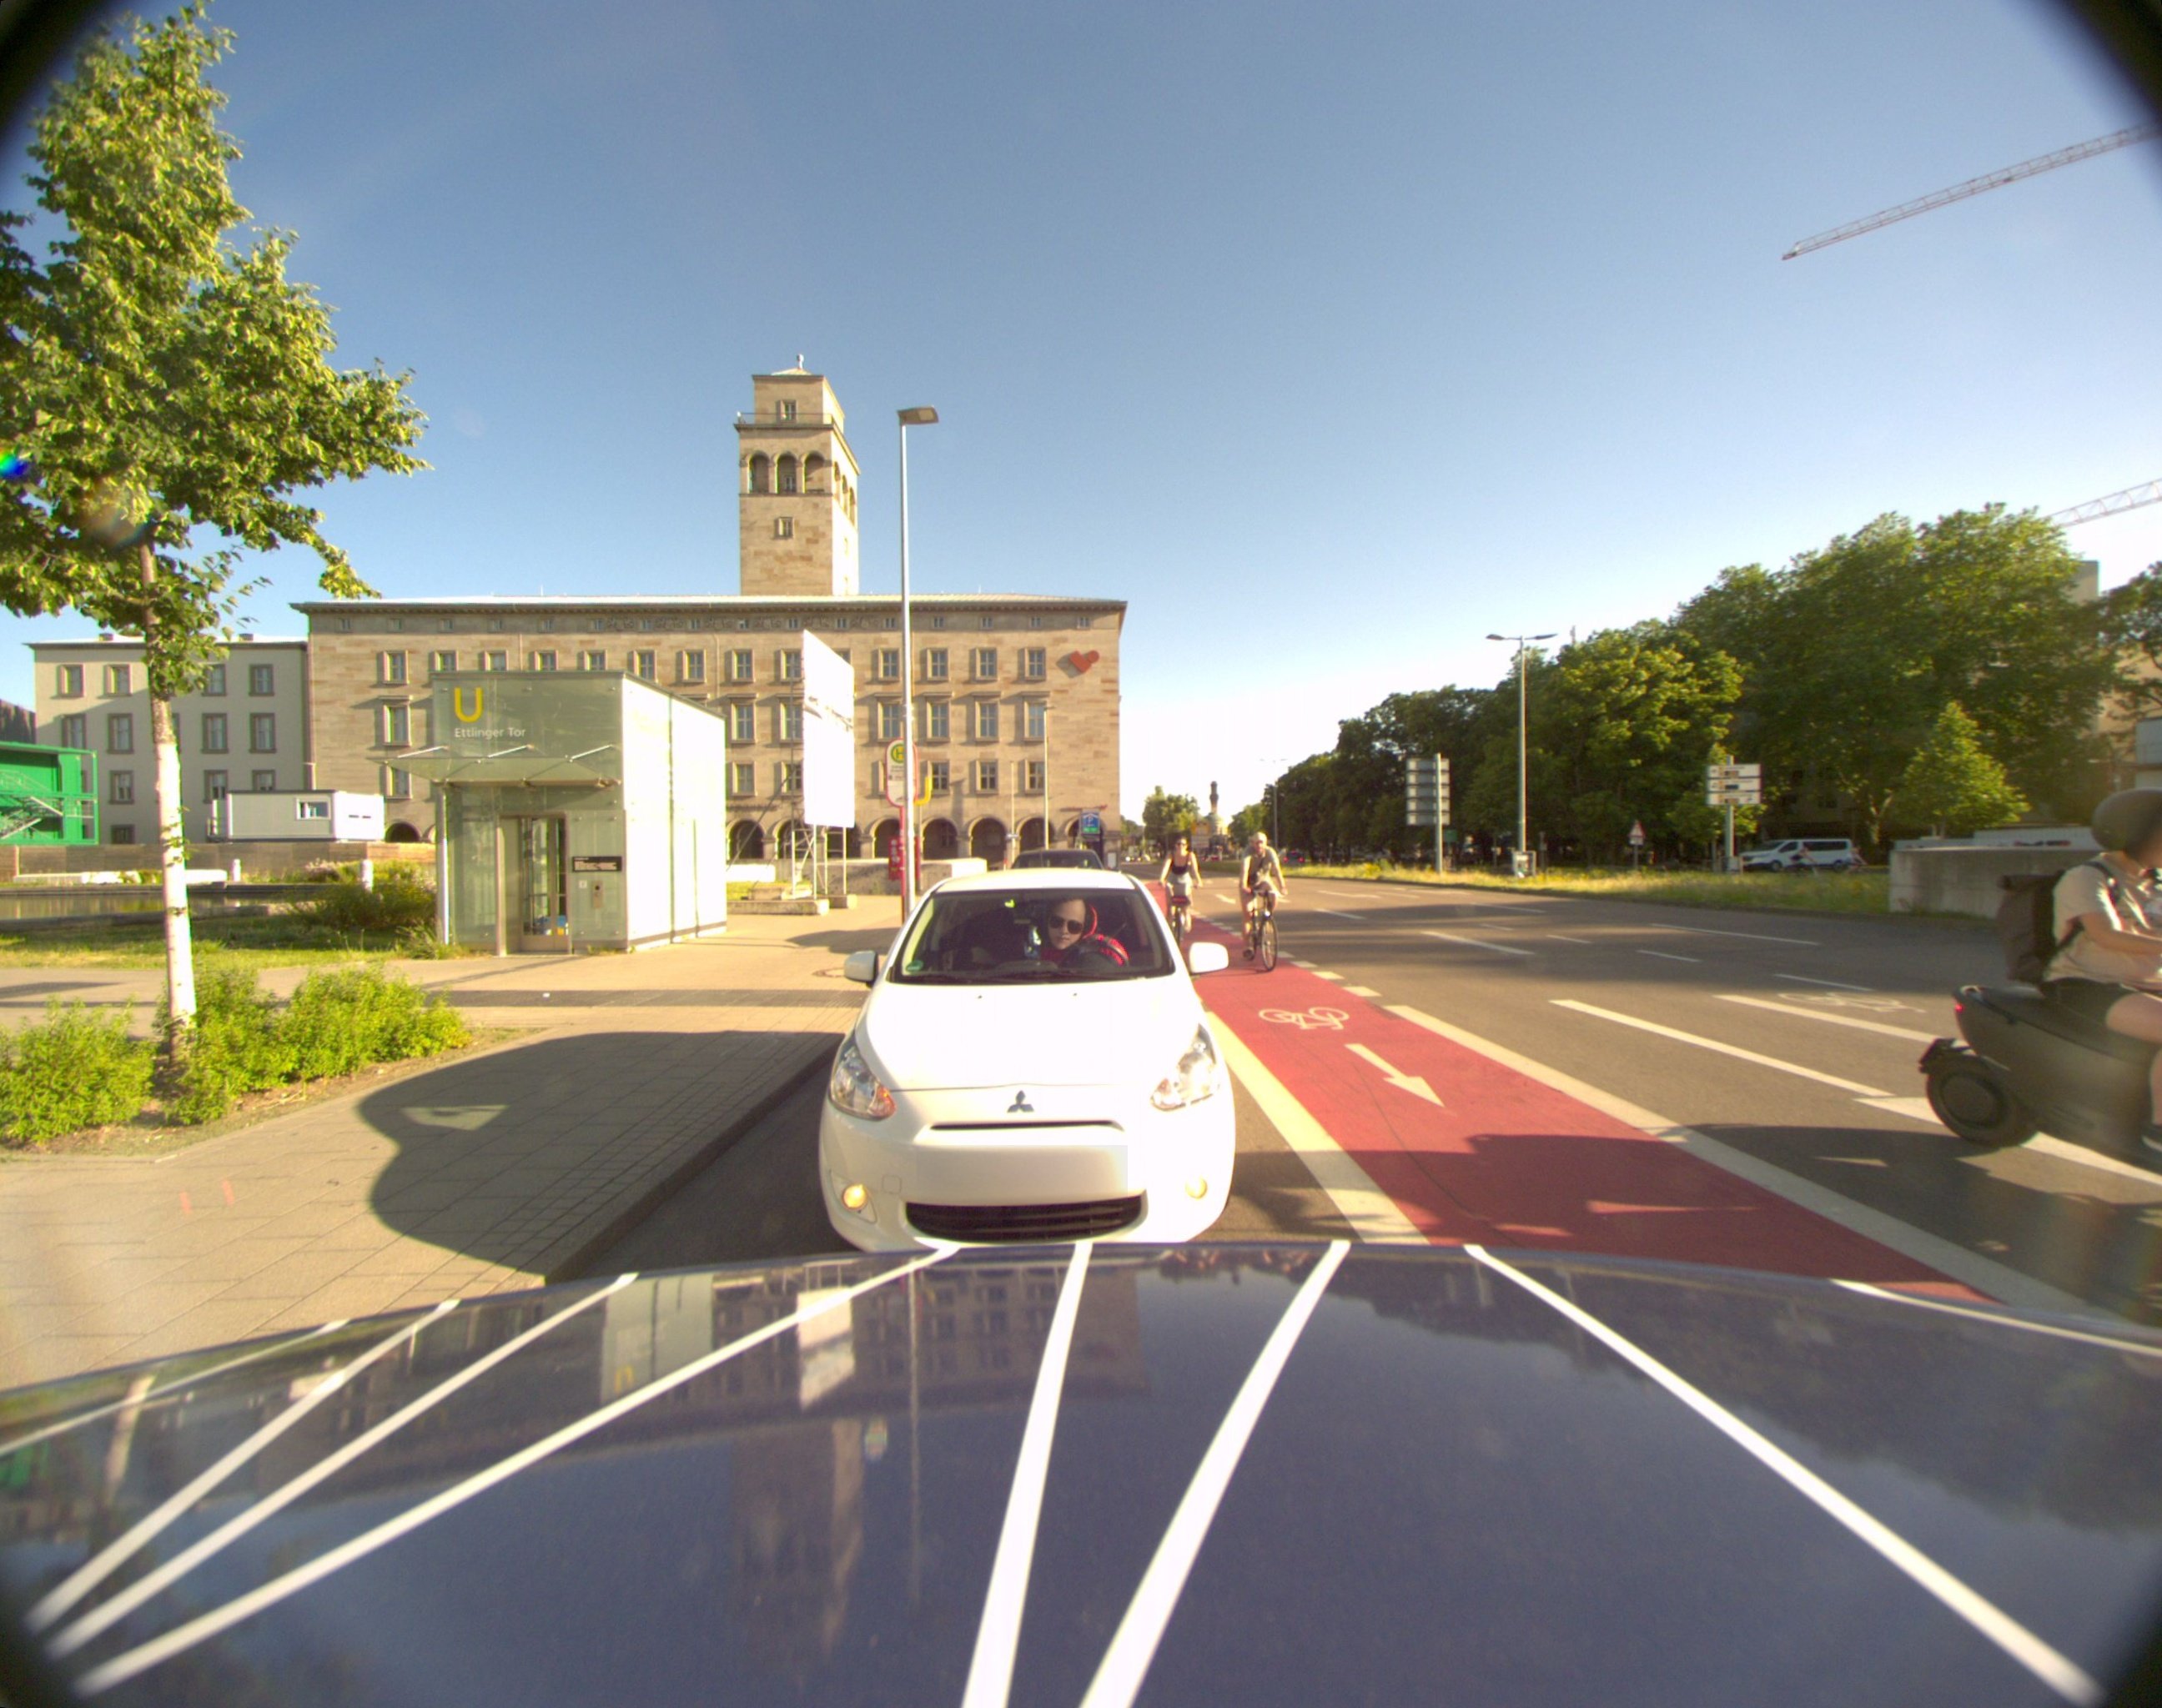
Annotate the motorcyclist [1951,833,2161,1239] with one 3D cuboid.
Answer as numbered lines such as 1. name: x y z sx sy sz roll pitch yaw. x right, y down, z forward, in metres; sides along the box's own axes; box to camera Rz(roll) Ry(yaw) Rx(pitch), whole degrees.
1. motorcyclist: 4.277 0.657 2.947 0.727 1.466 0.917 -2 0 1

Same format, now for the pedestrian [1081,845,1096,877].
1. pedestrian: 0.594 0.570 62.673 1.122 2.524 1.055 -2 1 1

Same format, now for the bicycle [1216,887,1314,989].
1. bicycle: 2.366 1.043 10.040 0.649 1.103 1.970 -2 0 -4

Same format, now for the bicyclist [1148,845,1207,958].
1. bicyclist: 1.416 0.675 11.225 0.643 1.570 0.875 -2 1 -5

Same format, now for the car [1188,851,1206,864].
1. car: 16.496 0.449 108.053 1.849 1.677 3.999 -2 1 1

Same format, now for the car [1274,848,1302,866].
1. car: 21.547 0.284 79.159 1.819 1.817 3.999 -2 1 1

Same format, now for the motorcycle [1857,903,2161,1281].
1. motorcycle: 4.285 0.901 2.893 0.724 1.286 1.884 -2 0 1

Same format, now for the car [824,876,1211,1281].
1. car: -0.232 0.957 4.847 1.496 1.477 3.604 -2 0 1

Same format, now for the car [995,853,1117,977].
1. car: -0.371 0.843 12.527 1.642 1.653 3.849 -2 0 -1

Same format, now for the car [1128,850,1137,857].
1. car: 12.136 -0.167 178.274 1.849 1.677 4.000 -2 1 2

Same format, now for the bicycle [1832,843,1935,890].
1. bicycle: 32.419 0.501 30.793 0.841 1.800 3.082 -2 -1 -1

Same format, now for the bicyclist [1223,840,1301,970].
1. bicyclist: 2.354 0.639 9.967 0.718 1.596 0.841 -2 1 -5

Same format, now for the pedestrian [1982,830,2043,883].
1. pedestrian: 36.091 0.091 29.450 0.940 2.002 1.137 -2 1 -5

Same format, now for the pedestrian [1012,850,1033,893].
1. pedestrian: -3.501 1.042 45.572 1.122 2.524 1.055 -2 1 1

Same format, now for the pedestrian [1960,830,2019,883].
1. pedestrian: 35.097 0.092 29.370 0.940 2.002 1.137 -2 1 -5

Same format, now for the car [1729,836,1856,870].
1. car: 42.138 -0.047 45.116 5.516 1.924 2.065 -1 1 2

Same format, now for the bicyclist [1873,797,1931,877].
1. bicyclist: 32.514 -0.675 30.127 0.841 3.085 1.306 -2 1 -1

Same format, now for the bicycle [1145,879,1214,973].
1. bicycle: 1.422 1.010 11.297 0.617 1.211 1.831 -2 0 -4
